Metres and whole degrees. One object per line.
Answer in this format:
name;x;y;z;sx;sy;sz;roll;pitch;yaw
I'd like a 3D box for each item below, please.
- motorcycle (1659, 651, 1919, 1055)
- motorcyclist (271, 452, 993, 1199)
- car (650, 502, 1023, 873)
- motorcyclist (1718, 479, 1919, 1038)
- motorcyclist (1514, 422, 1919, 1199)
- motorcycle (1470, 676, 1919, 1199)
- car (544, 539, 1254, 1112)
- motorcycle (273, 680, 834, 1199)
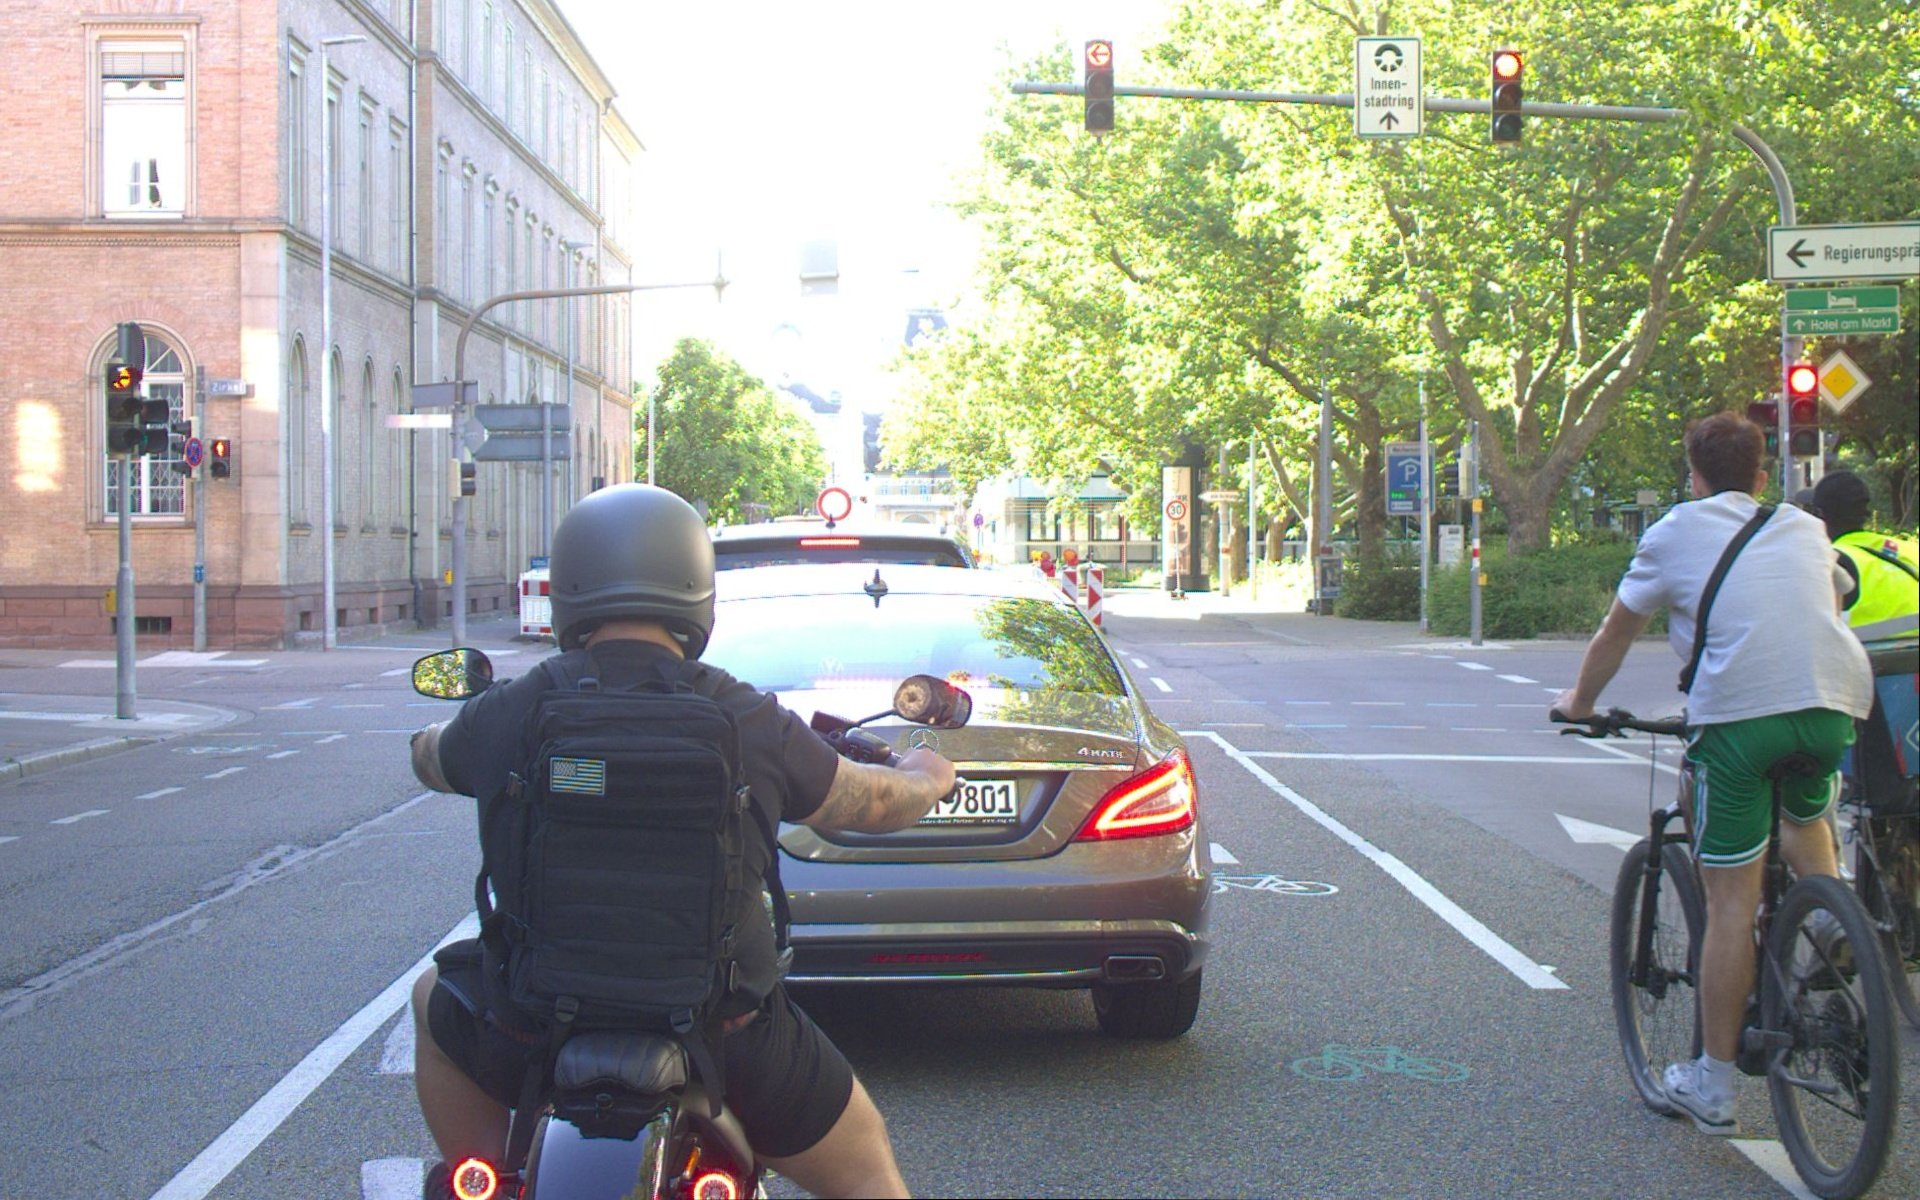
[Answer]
motorcycle;2.929;0.764;11.222;0.797;1.128;2.236;1;1;-1
motorcyclist;-0.467;0.598;5.350;0.990;1.605;1.120;1;0;-1
car;-0.576;0.374;17.442;1.651;1.646;4.000;1;1;-1
motorcyclist;2.903;0.492;11.093;0.717;1.737;0.751;1;0;-1
motorcyclist;1.857;0.482;8.382;0.831;1.782;0.913;1;0;-1
motorcycle;1.848;0.806;8.461;0.863;1.164;1.930;1;1;-1
car;-0.408;0.570;11.150;1.824;1.481;4.334;1;1;-7
motorcycle;-0.564;0.783;5.444;0.660;1.236;2.058;1;1;-1
